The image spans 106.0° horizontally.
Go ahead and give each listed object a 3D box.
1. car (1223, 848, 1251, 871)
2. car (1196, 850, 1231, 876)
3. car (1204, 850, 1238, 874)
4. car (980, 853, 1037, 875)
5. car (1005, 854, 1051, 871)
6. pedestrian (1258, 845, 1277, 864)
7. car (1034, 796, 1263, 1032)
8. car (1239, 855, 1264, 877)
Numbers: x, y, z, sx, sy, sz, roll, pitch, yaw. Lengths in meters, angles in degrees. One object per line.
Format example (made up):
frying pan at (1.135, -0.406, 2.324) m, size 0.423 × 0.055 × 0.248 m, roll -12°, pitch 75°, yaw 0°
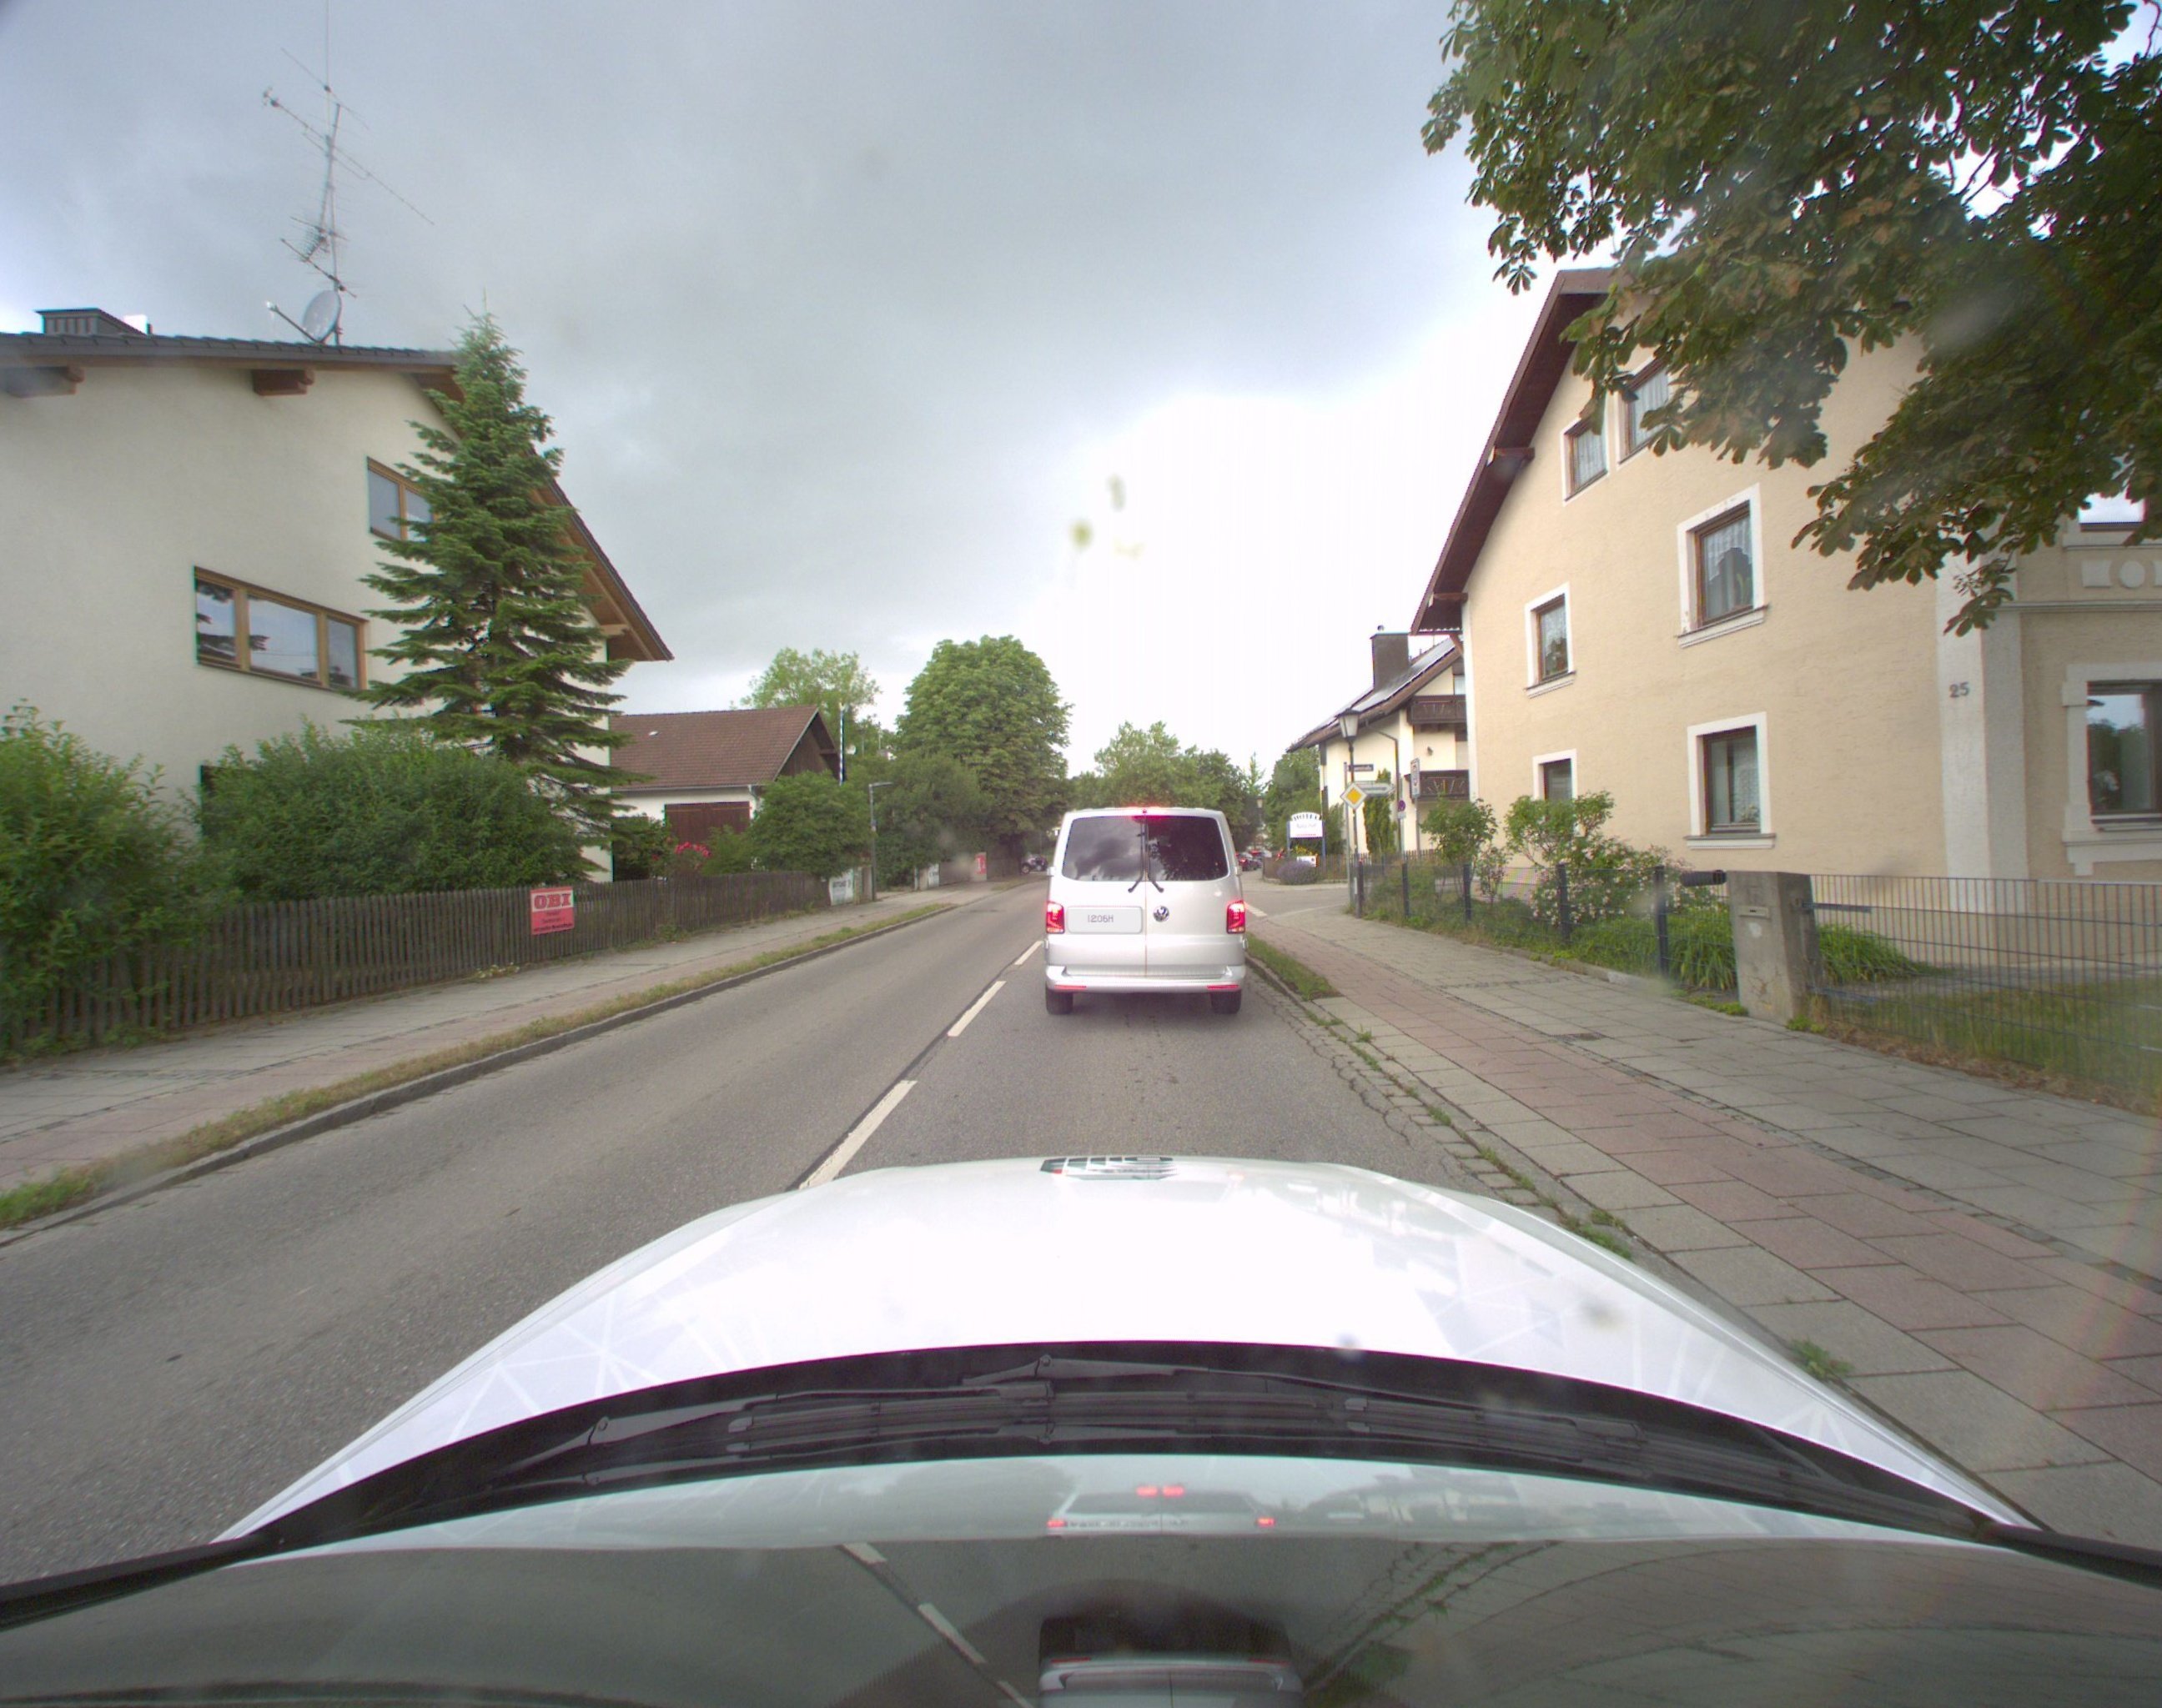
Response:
car at (12.583, 0.431, 65.412) m, size 1.867 × 1.748 × 4.096 m, roll -2°, pitch 0°, yaw 14°
car at (8.510, 0.551, 52.105) m, size 1.868 × 1.535 × 3.935 m, roll -2°, pitch 0°, yaw 14°
car at (9.812, 0.527, 56.910) m, size 1.867 × 1.535 × 3.937 m, roll -2°, pitch 0°, yaw 16°
car at (-5.262, 0.704, 59.003) m, size 3.982 × 1.486 × 1.996 m, roll -1°, pitch 0°, yaw -7°
car at (-4.505, 0.747, 69.241) m, size 3.748 × 1.346 × 1.579 m, roll -1°, pitch 0°, yaw -9°
pedestrian at (20.567, 0.078, 89.930) m, size 1.369 × 2.013 × 1.504 m, roll -1°, pitch 0°, yaw -37°
car at (0.656, 0.509, 8.844) m, size 1.874 × 1.940 × 3.923 m, roll -2°, pitch 0°, yaw 2°
car at (15.178, 1.064, 72.222) m, size 1.867 × 1.825 × 3.937 m, roll -2°, pitch 0°, yaw 16°
